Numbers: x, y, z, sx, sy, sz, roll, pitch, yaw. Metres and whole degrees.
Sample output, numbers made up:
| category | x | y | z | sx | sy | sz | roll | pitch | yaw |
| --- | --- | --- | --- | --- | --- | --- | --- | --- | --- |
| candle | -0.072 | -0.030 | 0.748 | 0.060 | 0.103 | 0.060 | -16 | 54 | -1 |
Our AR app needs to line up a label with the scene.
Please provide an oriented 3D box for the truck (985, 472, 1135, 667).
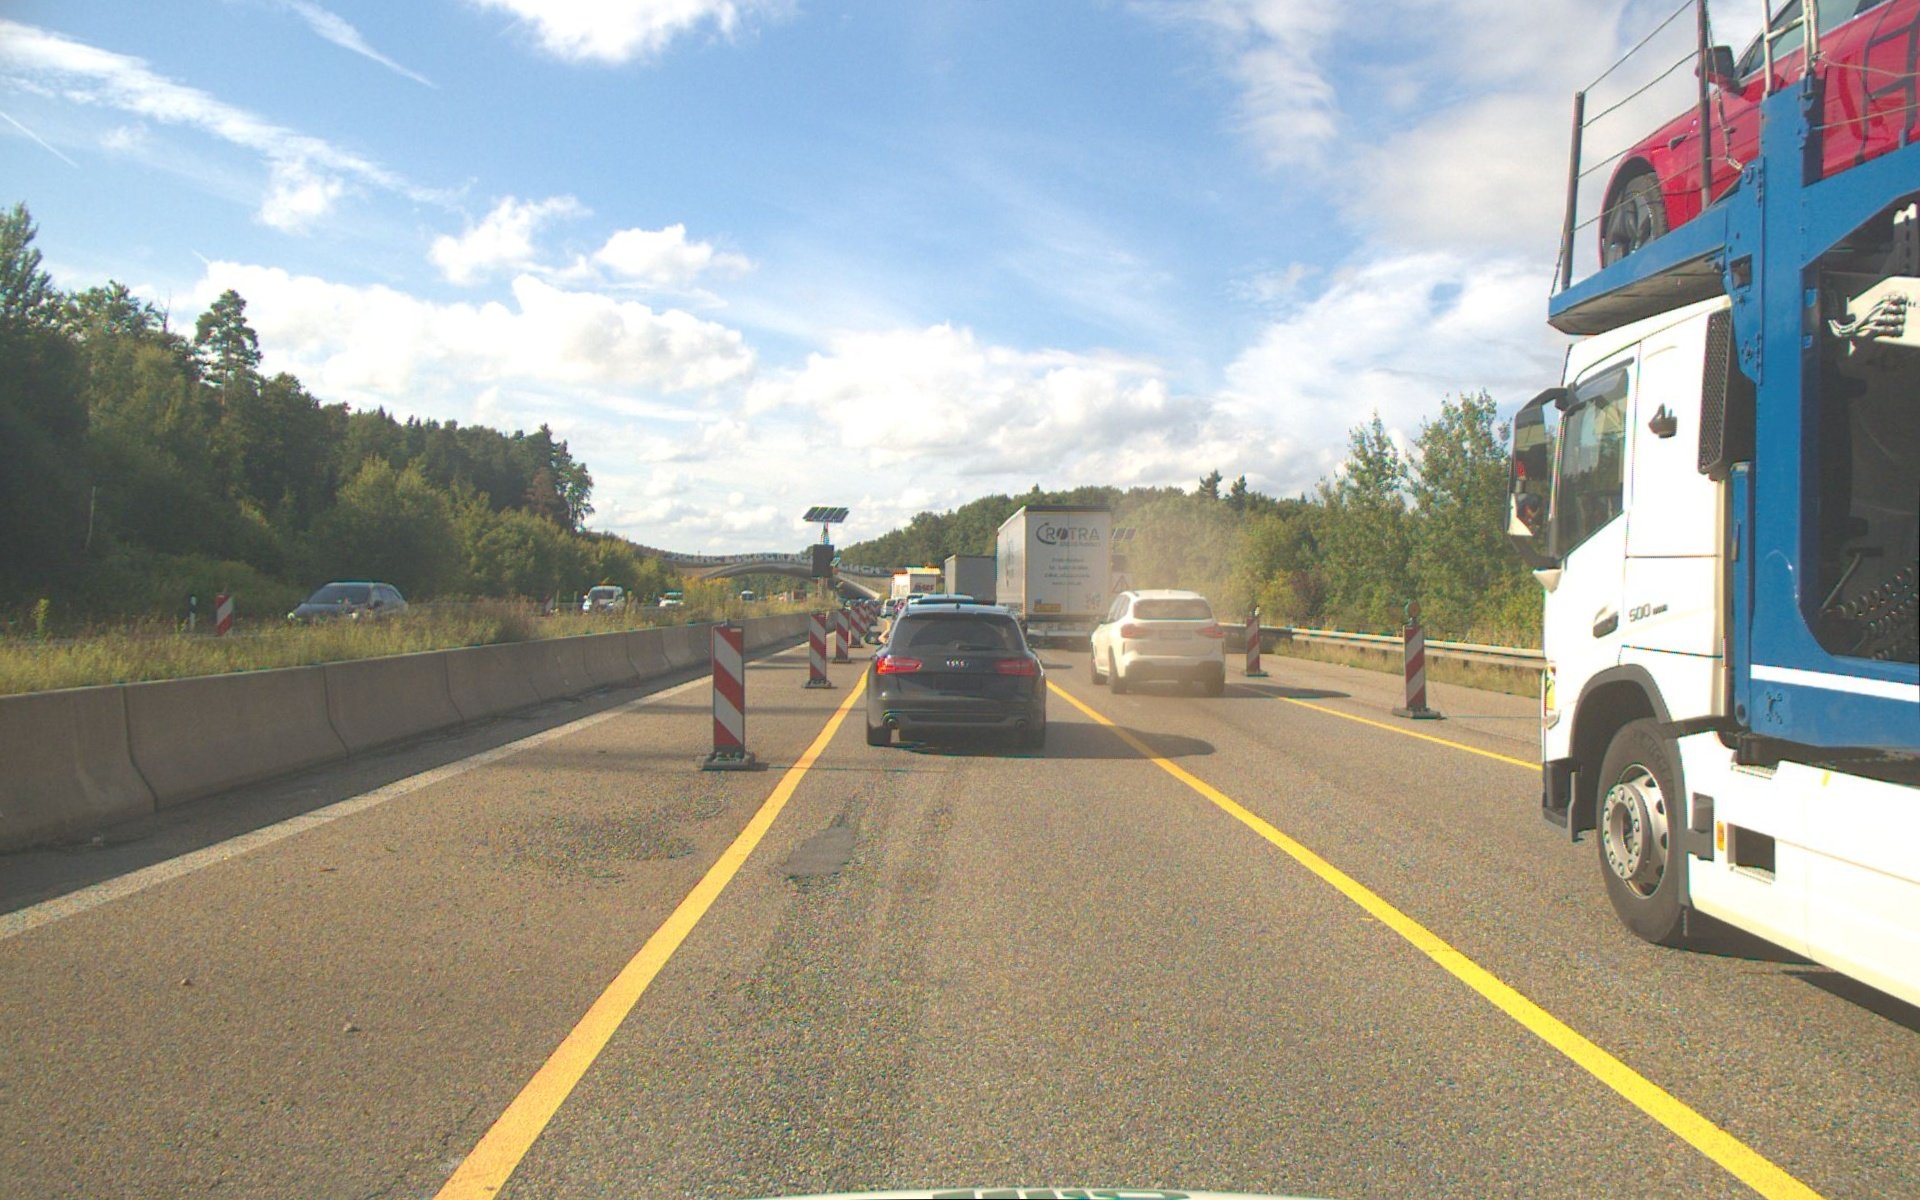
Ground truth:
| category | x | y | z | sx | sy | sz | roll | pitch | yaw |
| --- | --- | --- | --- | --- | --- | --- | --- | --- | --- |
| truck | 2.947 | -0.835 | 54.847 | 3.603 | 5.447 | 16.196 | 1 | 0 | -1 |

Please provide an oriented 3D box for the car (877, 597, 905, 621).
| category | x | y | z | sx | sy | sz | roll | pitch | yaw |
| --- | --- | --- | --- | --- | --- | --- | --- | --- | --- |
| car | -6.040 | 0.750 | 144.661 | 1.956 | 2.049 | 3.992 | 1 | 0 | -8 |

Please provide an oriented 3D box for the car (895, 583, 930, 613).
| category | x | y | z | sx | sy | sz | roll | pitch | yaw |
| --- | --- | --- | --- | --- | --- | --- | --- | --- | --- |
| car | -2.814 | -0.118 | 96.459 | 1.853 | 1.672 | 4.014 | 1 | 0 | -4 |

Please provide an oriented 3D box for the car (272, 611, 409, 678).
| category | x | y | z | sx | sy | sz | roll | pitch | yaw |
| --- | --- | --- | --- | --- | --- | --- | --- | --- | --- |
| car | -14.686 | 1.021 | 39.445 | 1.742 | 1.482 | 4.103 | 1 | 0 | -1 |

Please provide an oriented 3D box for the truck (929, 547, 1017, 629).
| category | x | y | z | sx | sy | sz | roll | pitch | yaw |
| --- | --- | --- | --- | --- | --- | --- | --- | --- | --- |
| truck | 0.657 | -0.652 | 101.165 | 4.235 | 4.681 | 11.112 | 1 | 0 | -5 |

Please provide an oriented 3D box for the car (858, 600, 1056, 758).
| category | x | y | z | sx | sy | sz | roll | pitch | yaw |
| --- | --- | --- | --- | --- | --- | --- | --- | --- | --- |
| car | -0.058 | 0.762 | 17.725 | 1.852 | 1.472 | 3.999 | 1 | 0 | -1 |

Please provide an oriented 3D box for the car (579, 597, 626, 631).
| category | x | y | z | sx | sy | sz | roll | pitch | yaw |
| --- | --- | --- | --- | --- | --- | --- | --- | --- | --- |
| car | -19.852 | 0.785 | 91.997 | 1.742 | 1.817 | 4.364 | 1 | 0 | -1 |

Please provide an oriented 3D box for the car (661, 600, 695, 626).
| category | x | y | z | sx | sy | sz | roll | pitch | yaw |
| --- | --- | --- | --- | --- | --- | --- | --- | --- | --- |
| car | -20.439 | 0.909 | 119.866 | 1.742 | 1.817 | 4.364 | 1 | 0 | -1 |

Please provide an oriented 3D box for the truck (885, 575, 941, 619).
| category | x | y | z | sx | sy | sz | roll | pitch | yaw |
| --- | --- | --- | --- | --- | --- | --- | --- | --- | --- |
| truck | -4.631 | -0.238 | 158.926 | 3.589 | 3.997 | 11.037 | 1 | 0 | -11 |

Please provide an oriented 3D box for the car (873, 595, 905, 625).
| category | x | y | z | sx | sy | sz | roll | pitch | yaw |
| --- | --- | --- | --- | --- | --- | --- | --- | --- | --- |
| car | -5.029 | 0.723 | 116.080 | 1.955 | 2.049 | 3.995 | 1 | 0 | -6 |

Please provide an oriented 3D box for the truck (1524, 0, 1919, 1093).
| category | x | y | z | sx | sy | sz | roll | pitch | yaw |
| --- | --- | --- | --- | --- | --- | --- | --- | --- | --- |
| truck | 4.793 | -0.617 | 4.385 | 3.685 | 4.270 | 7.948 | 1 | 0 | -2 |

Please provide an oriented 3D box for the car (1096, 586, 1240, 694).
| category | x | y | z | sx | sy | sz | roll | pitch | yaw |
| --- | --- | --- | --- | --- | --- | --- | --- | --- | --- |
| car | 3.444 | 0.639 | 28.081 | 1.852 | 1.672 | 4.017 | 1 | 0 | -1 |

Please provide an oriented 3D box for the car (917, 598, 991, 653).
| category | x | y | z | sx | sy | sz | roll | pitch | yaw |
| --- | --- | --- | --- | --- | --- | --- | --- | --- | --- |
| car | -0.220 | 0.712 | 47.231 | 1.853 | 1.472 | 3.997 | 1 | 0 | -4 |
